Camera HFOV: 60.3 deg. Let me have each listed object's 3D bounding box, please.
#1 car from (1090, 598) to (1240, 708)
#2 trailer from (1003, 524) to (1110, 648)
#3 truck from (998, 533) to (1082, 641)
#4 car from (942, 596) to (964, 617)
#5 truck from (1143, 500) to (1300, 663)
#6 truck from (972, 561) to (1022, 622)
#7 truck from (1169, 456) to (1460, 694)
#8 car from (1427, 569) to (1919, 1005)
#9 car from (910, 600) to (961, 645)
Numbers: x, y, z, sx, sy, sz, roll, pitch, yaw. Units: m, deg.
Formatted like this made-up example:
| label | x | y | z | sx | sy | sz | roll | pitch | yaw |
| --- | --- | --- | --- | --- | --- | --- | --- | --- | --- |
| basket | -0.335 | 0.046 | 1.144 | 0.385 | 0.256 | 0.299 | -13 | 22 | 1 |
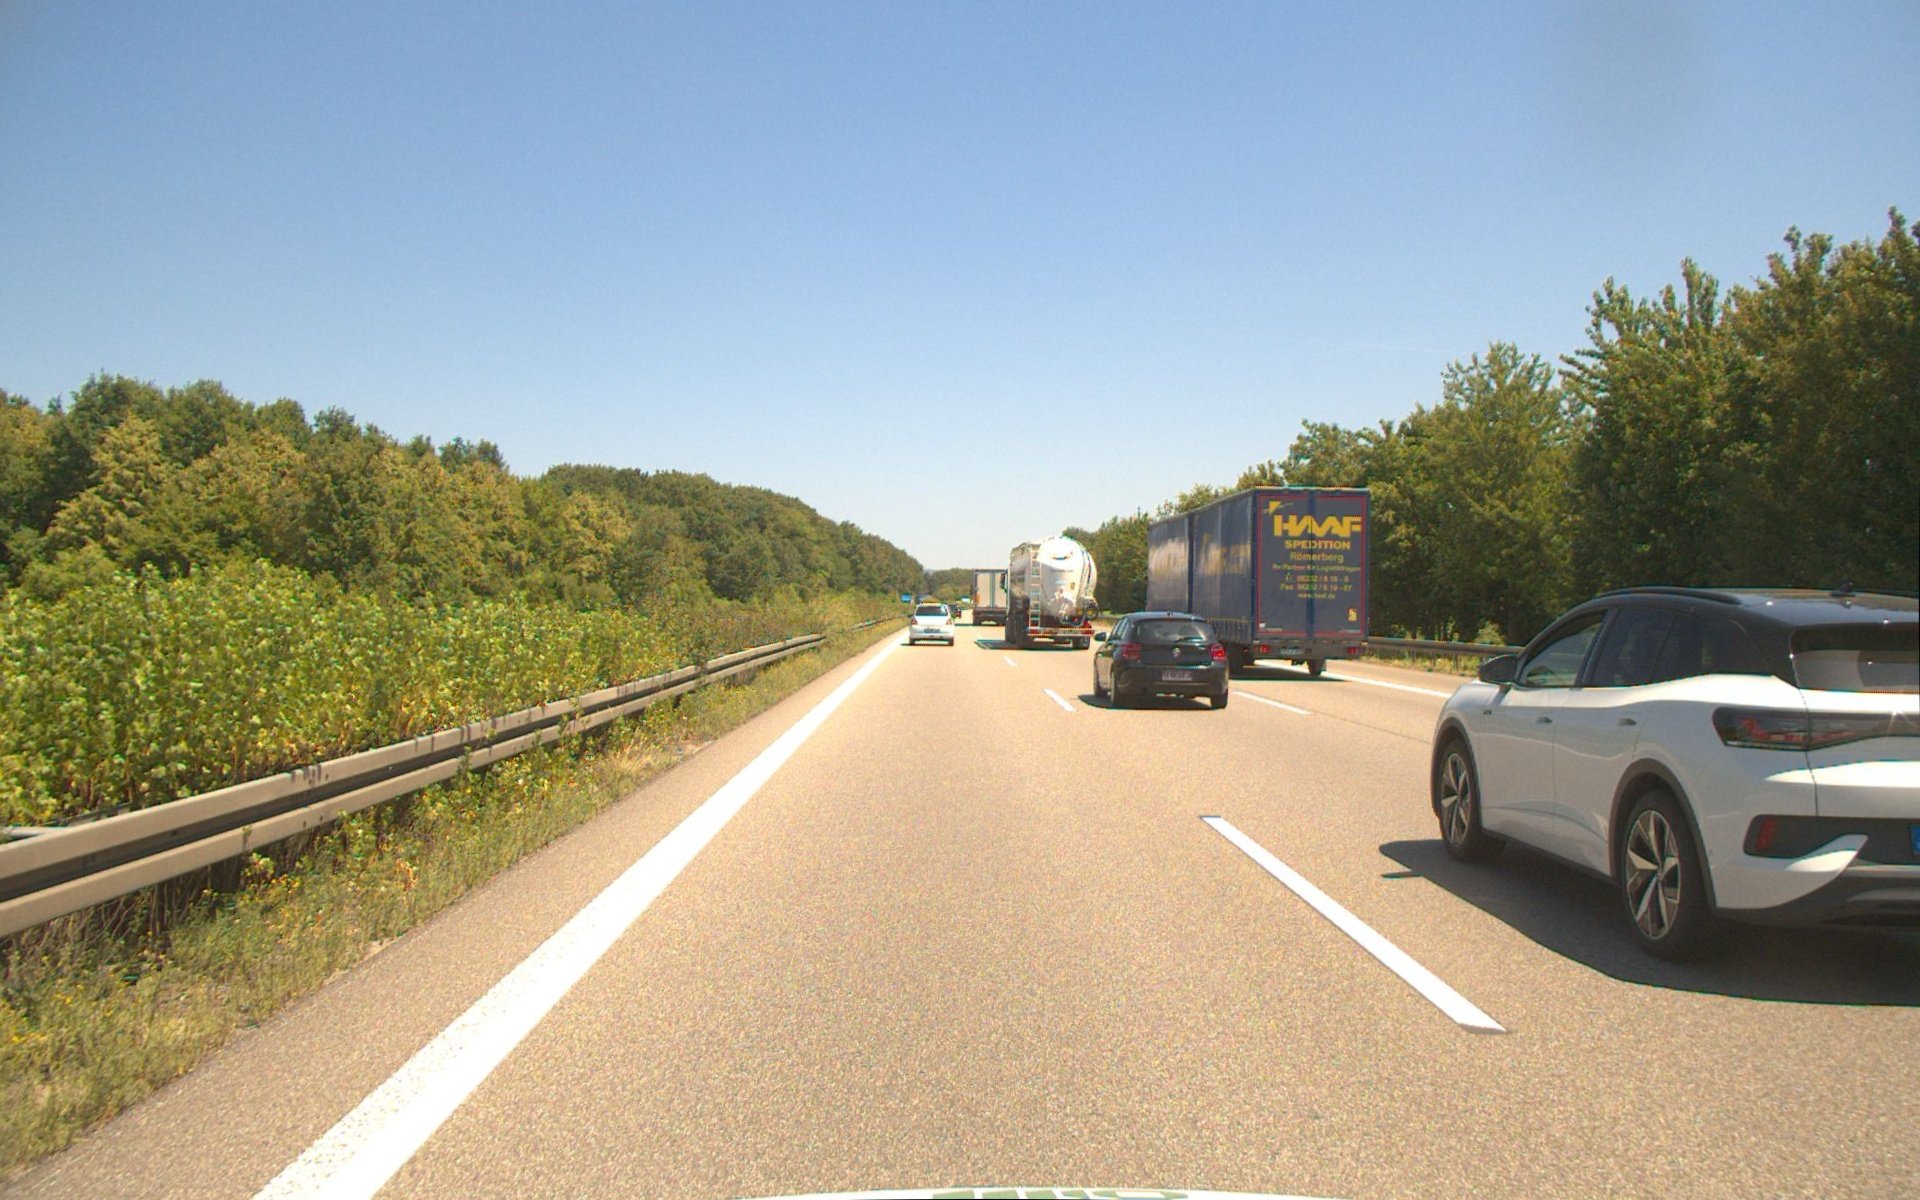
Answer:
| label | x | y | z | sx | sy | sz | roll | pitch | yaw |
| --- | --- | --- | --- | --- | --- | --- | --- | --- | --- |
| car | 3.135 | 0.770 | 25.991 | 1.812 | 1.549 | 3.956 | 1 | 0 | -1 |
| trailer | 3.398 | -0.482 | 61.855 | 2.853 | 4.140 | 12.414 | 1 | 0 | -2 |
| truck | 3.202 | -0.501 | 68.001 | 2.853 | 4.150 | 7.193 | 1 | 0 | -1 |
| car | -0.811 | 0.726 | 189.101 | 2.425 | 2.395 | 5.180 | 1 | 0 | -1 |
| truck | 7.267 | -0.493 | 47.178 | 3.045 | 4.211 | 8.055 | 1 | 0 | -1 |
| truck | 2.693 | -0.602 | 124.333 | 3.325 | 4.287 | 12.081 | 1 | 0 | -1 |
| truck | 7.361 | -0.469 | 37.482 | 3.045 | 4.211 | 15.509 | 1 | 0 | -1 |
| car | 3.929 | 0.710 | 8.428 | 1.766 | 1.631 | 4.379 | 1 | 0 | -1 |
| car | -0.937 | 0.802 | 61.637 | 1.763 | 1.579 | 3.608 | 1 | 0 | -2 |
